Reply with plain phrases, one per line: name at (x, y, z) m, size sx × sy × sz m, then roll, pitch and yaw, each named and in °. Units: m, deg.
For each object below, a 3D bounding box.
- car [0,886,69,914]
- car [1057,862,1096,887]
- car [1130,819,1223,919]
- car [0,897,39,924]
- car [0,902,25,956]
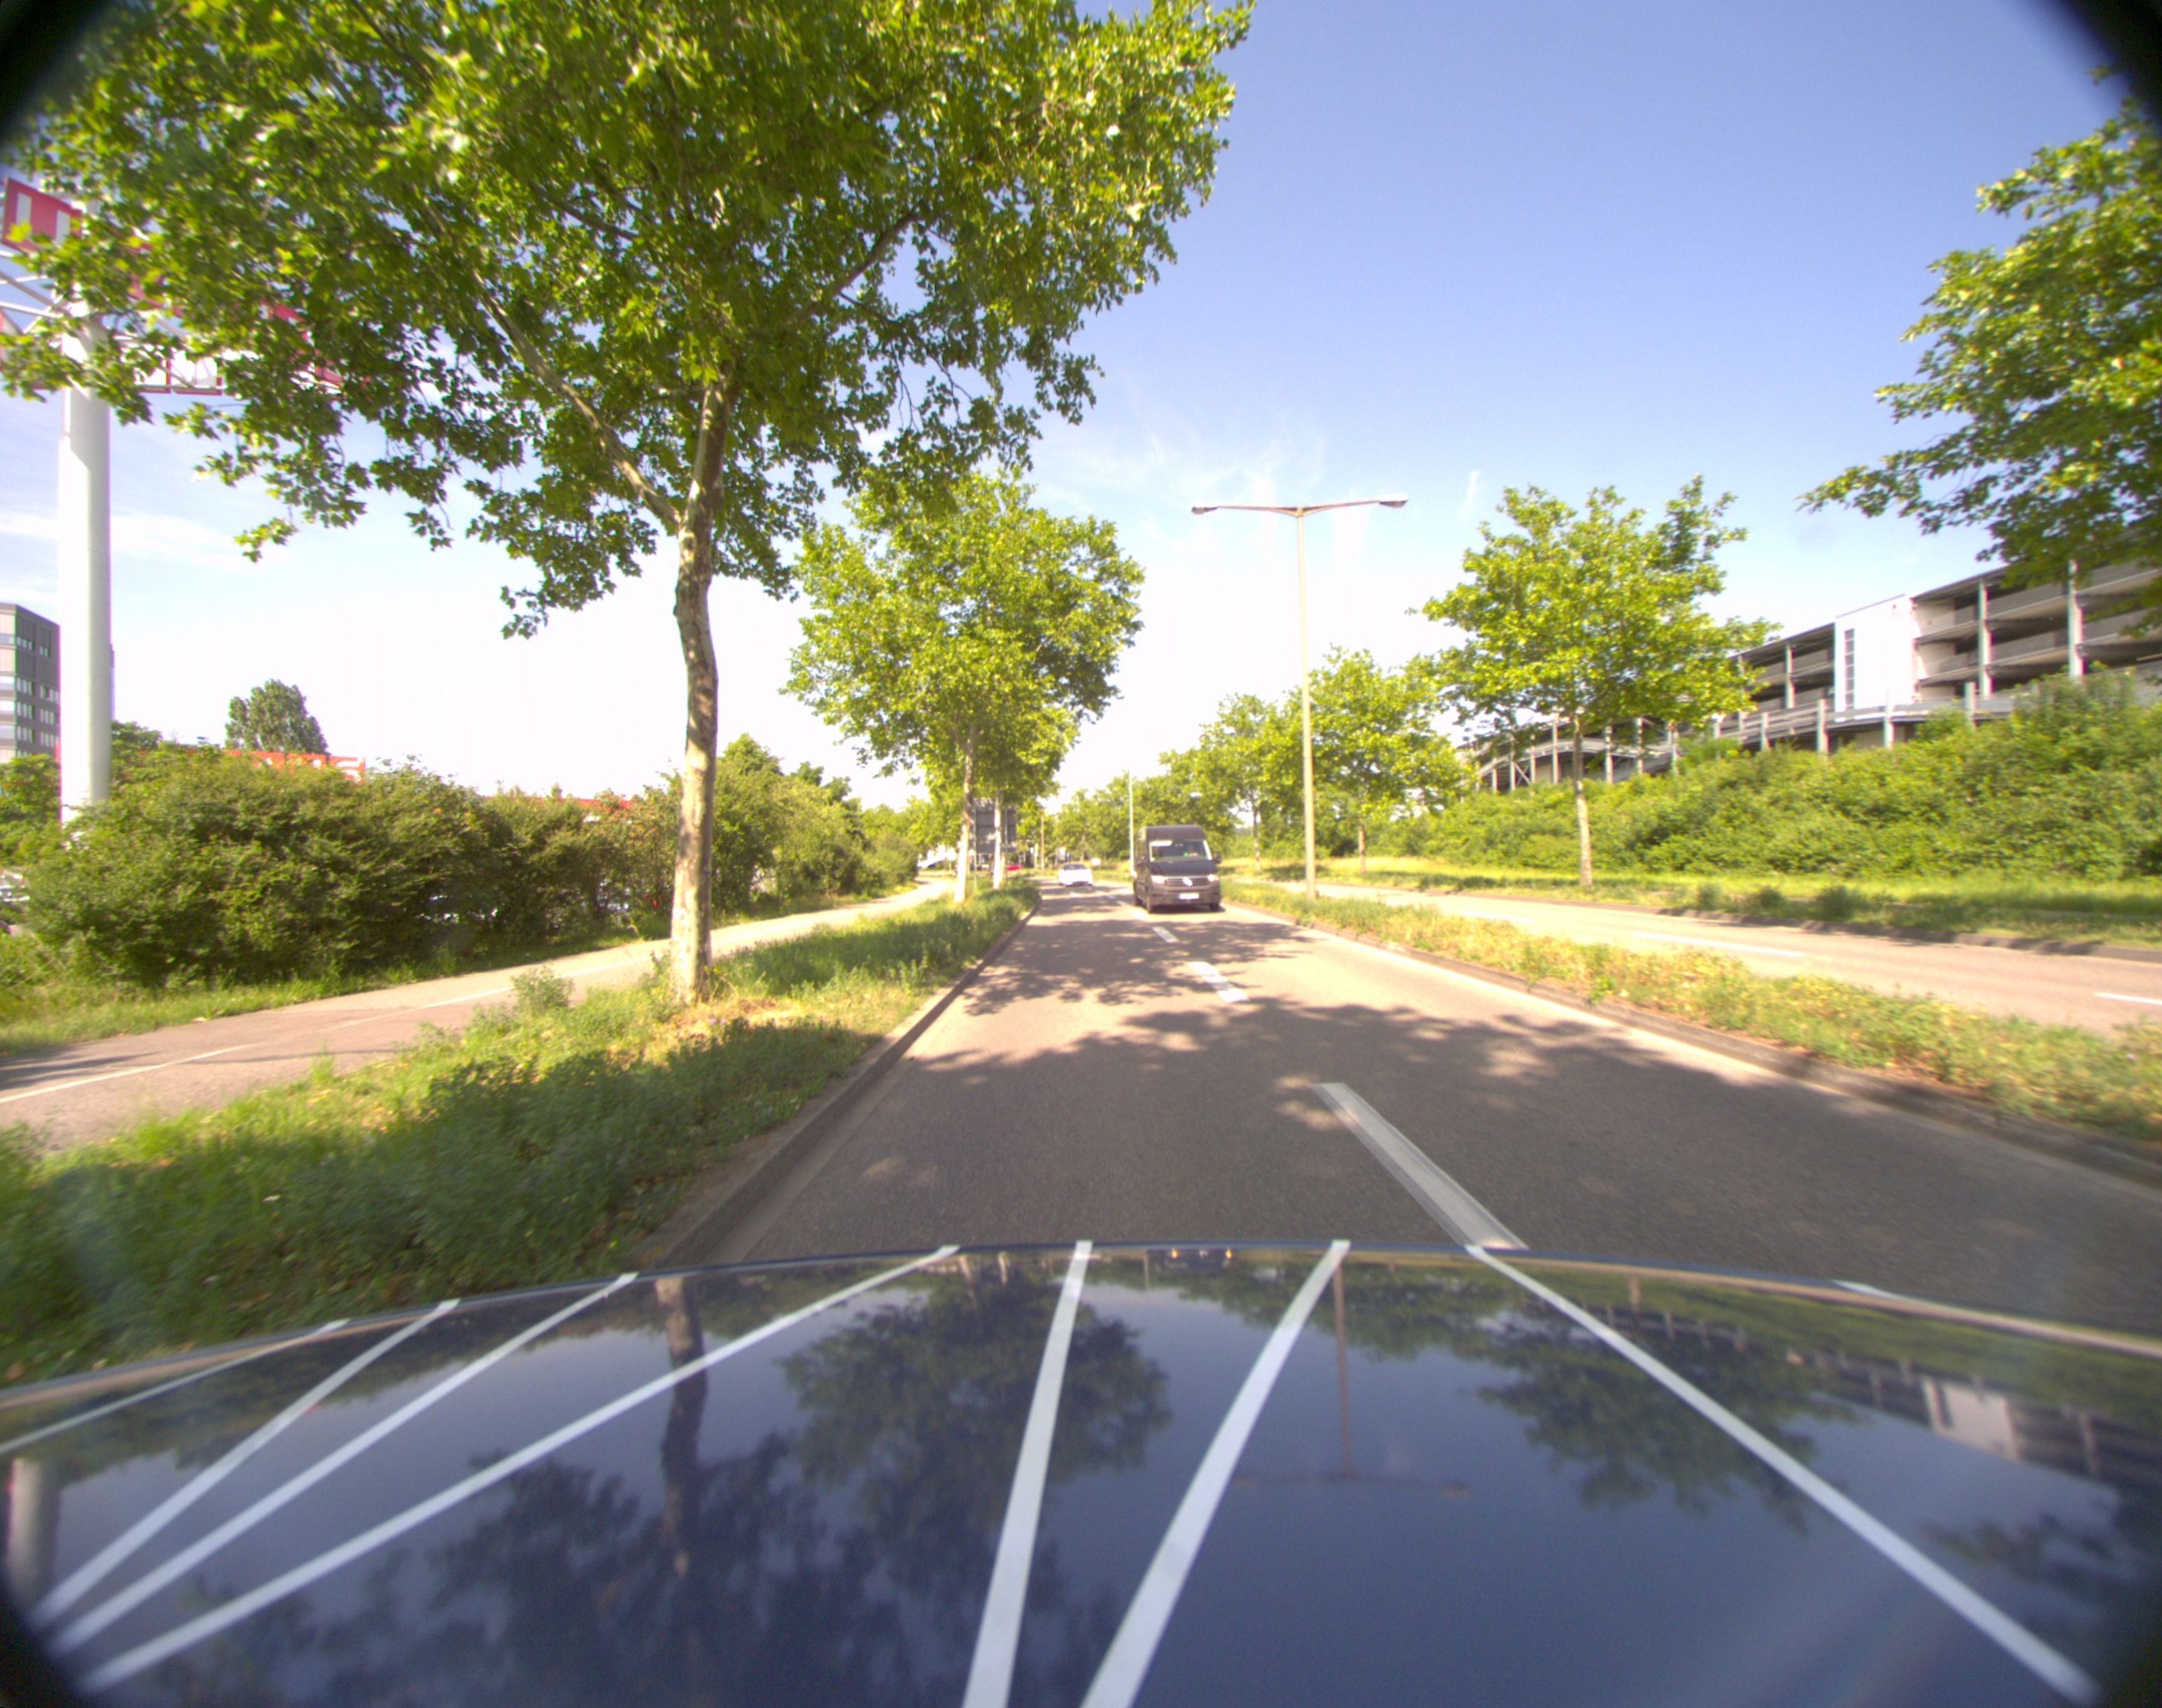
car at (-59.695, 2.591, 43.161) m, size 1.572 × 1.371 × 3.610 m, roll -2°, pitch 0°, yaw -36°
car at (-0.327, 1.361, 51.516) m, size 1.825 × 1.512 × 4.204 m, roll -2°, pitch 0°, yaw -11°
car at (2.754, 0.393, 23.314) m, size 2.021 × 2.592 × 6.168 m, roll -2°, pitch 0°, yaw 0°
car at (-45.310, 2.386, 31.482) m, size 1.521 × 1.053 × 3.179 m, roll -3°, pitch 0°, yaw -35°
car at (-31.364, 2.192, 20.563) m, size 2.003 × 1.499 × 3.990 m, roll -1°, pitch 0°, yaw -35°
